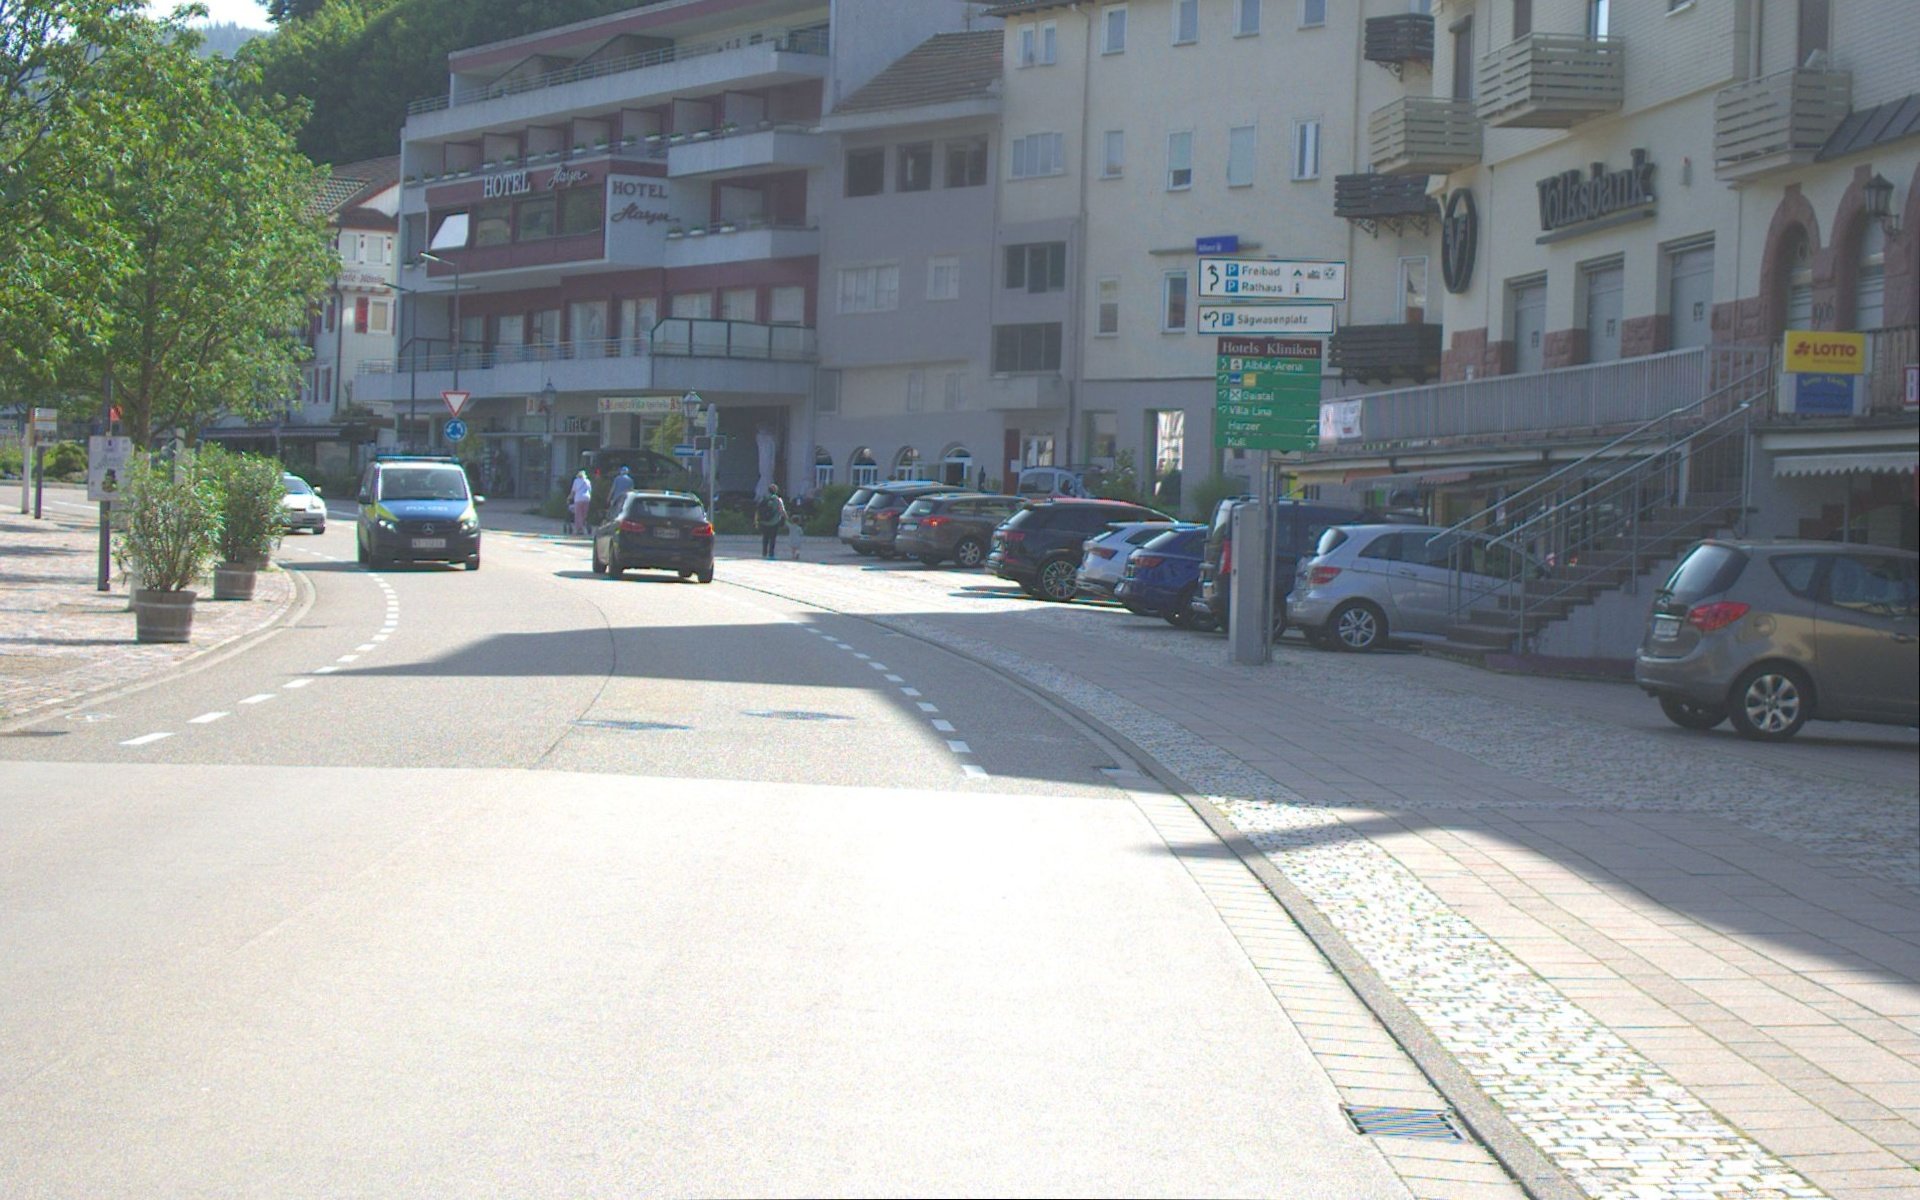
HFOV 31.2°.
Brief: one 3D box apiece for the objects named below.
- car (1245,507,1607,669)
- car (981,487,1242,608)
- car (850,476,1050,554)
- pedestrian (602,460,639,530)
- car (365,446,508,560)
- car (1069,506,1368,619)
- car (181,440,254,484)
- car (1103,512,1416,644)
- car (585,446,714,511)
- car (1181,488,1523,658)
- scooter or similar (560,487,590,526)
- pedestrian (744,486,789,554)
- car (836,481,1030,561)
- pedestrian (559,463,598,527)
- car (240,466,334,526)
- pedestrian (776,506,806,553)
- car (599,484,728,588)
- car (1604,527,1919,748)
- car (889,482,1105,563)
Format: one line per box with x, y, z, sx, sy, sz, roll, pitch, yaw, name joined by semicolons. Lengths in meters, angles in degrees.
5.563;-0.163;41.332;3.909;1.583;1.775;4;2;-5;car
2.527;-0.892;58.120;4.083;1.660;1.773;5;2;-5;car
-0.219;-1.828;73.116;3.860;1.544;1.773;-2;4;-25;car
-8.614;-2.661;87.210;0.668;1.722;0.708;2;2;-28;pedestrian
-9.414;-1.744;61.516;1.854;1.946;5.019;0;2;-16;car
3.978;-0.584;53.314;4.356;1.456;1.773;4;0;-3;car
-29.683;-5.533;137.326;1.676;1.615;4.001;2;2;-30;car
4.045;-0.308;46.775;3.909;1.456;1.736;4;2;-5;car
-8.659;-3.389;95.819;3.162;1.657;1.595;2;2;-25;car
4.965;-0.351;43.907;3.909;1.798;1.858;5;1;-5;car
-9.803;-2.377;87.604;0.596;0.947;0.474;2;2;-28;scooter or similar
-4.154;-1.726;73.868;0.735;1.437;0.633;-1;3;-35;pedestrian
-0.589;-1.751;75.266;3.860;1.607;1.773;-2;4;-25;car
-9.698;-2.678;87.423;0.757;1.588;0.628;2;2;-28;pedestrian
-15.658;-2.429;79.899;1.627;1.366;4.065;0;2;-19;car
-3.642;-1.524;74.143;0.417;0.998;0.531;-1;3;-37;pedestrian
-5.255;-1.150;60.544;1.726;1.569;3.755;2;3;-12;car
7.363;0.344;27.581;3.858;1.549;1.761;4;1;-8;car
0.753;-1.602;69.969;4.009;1.511;1.773;-2;4;-25;car
